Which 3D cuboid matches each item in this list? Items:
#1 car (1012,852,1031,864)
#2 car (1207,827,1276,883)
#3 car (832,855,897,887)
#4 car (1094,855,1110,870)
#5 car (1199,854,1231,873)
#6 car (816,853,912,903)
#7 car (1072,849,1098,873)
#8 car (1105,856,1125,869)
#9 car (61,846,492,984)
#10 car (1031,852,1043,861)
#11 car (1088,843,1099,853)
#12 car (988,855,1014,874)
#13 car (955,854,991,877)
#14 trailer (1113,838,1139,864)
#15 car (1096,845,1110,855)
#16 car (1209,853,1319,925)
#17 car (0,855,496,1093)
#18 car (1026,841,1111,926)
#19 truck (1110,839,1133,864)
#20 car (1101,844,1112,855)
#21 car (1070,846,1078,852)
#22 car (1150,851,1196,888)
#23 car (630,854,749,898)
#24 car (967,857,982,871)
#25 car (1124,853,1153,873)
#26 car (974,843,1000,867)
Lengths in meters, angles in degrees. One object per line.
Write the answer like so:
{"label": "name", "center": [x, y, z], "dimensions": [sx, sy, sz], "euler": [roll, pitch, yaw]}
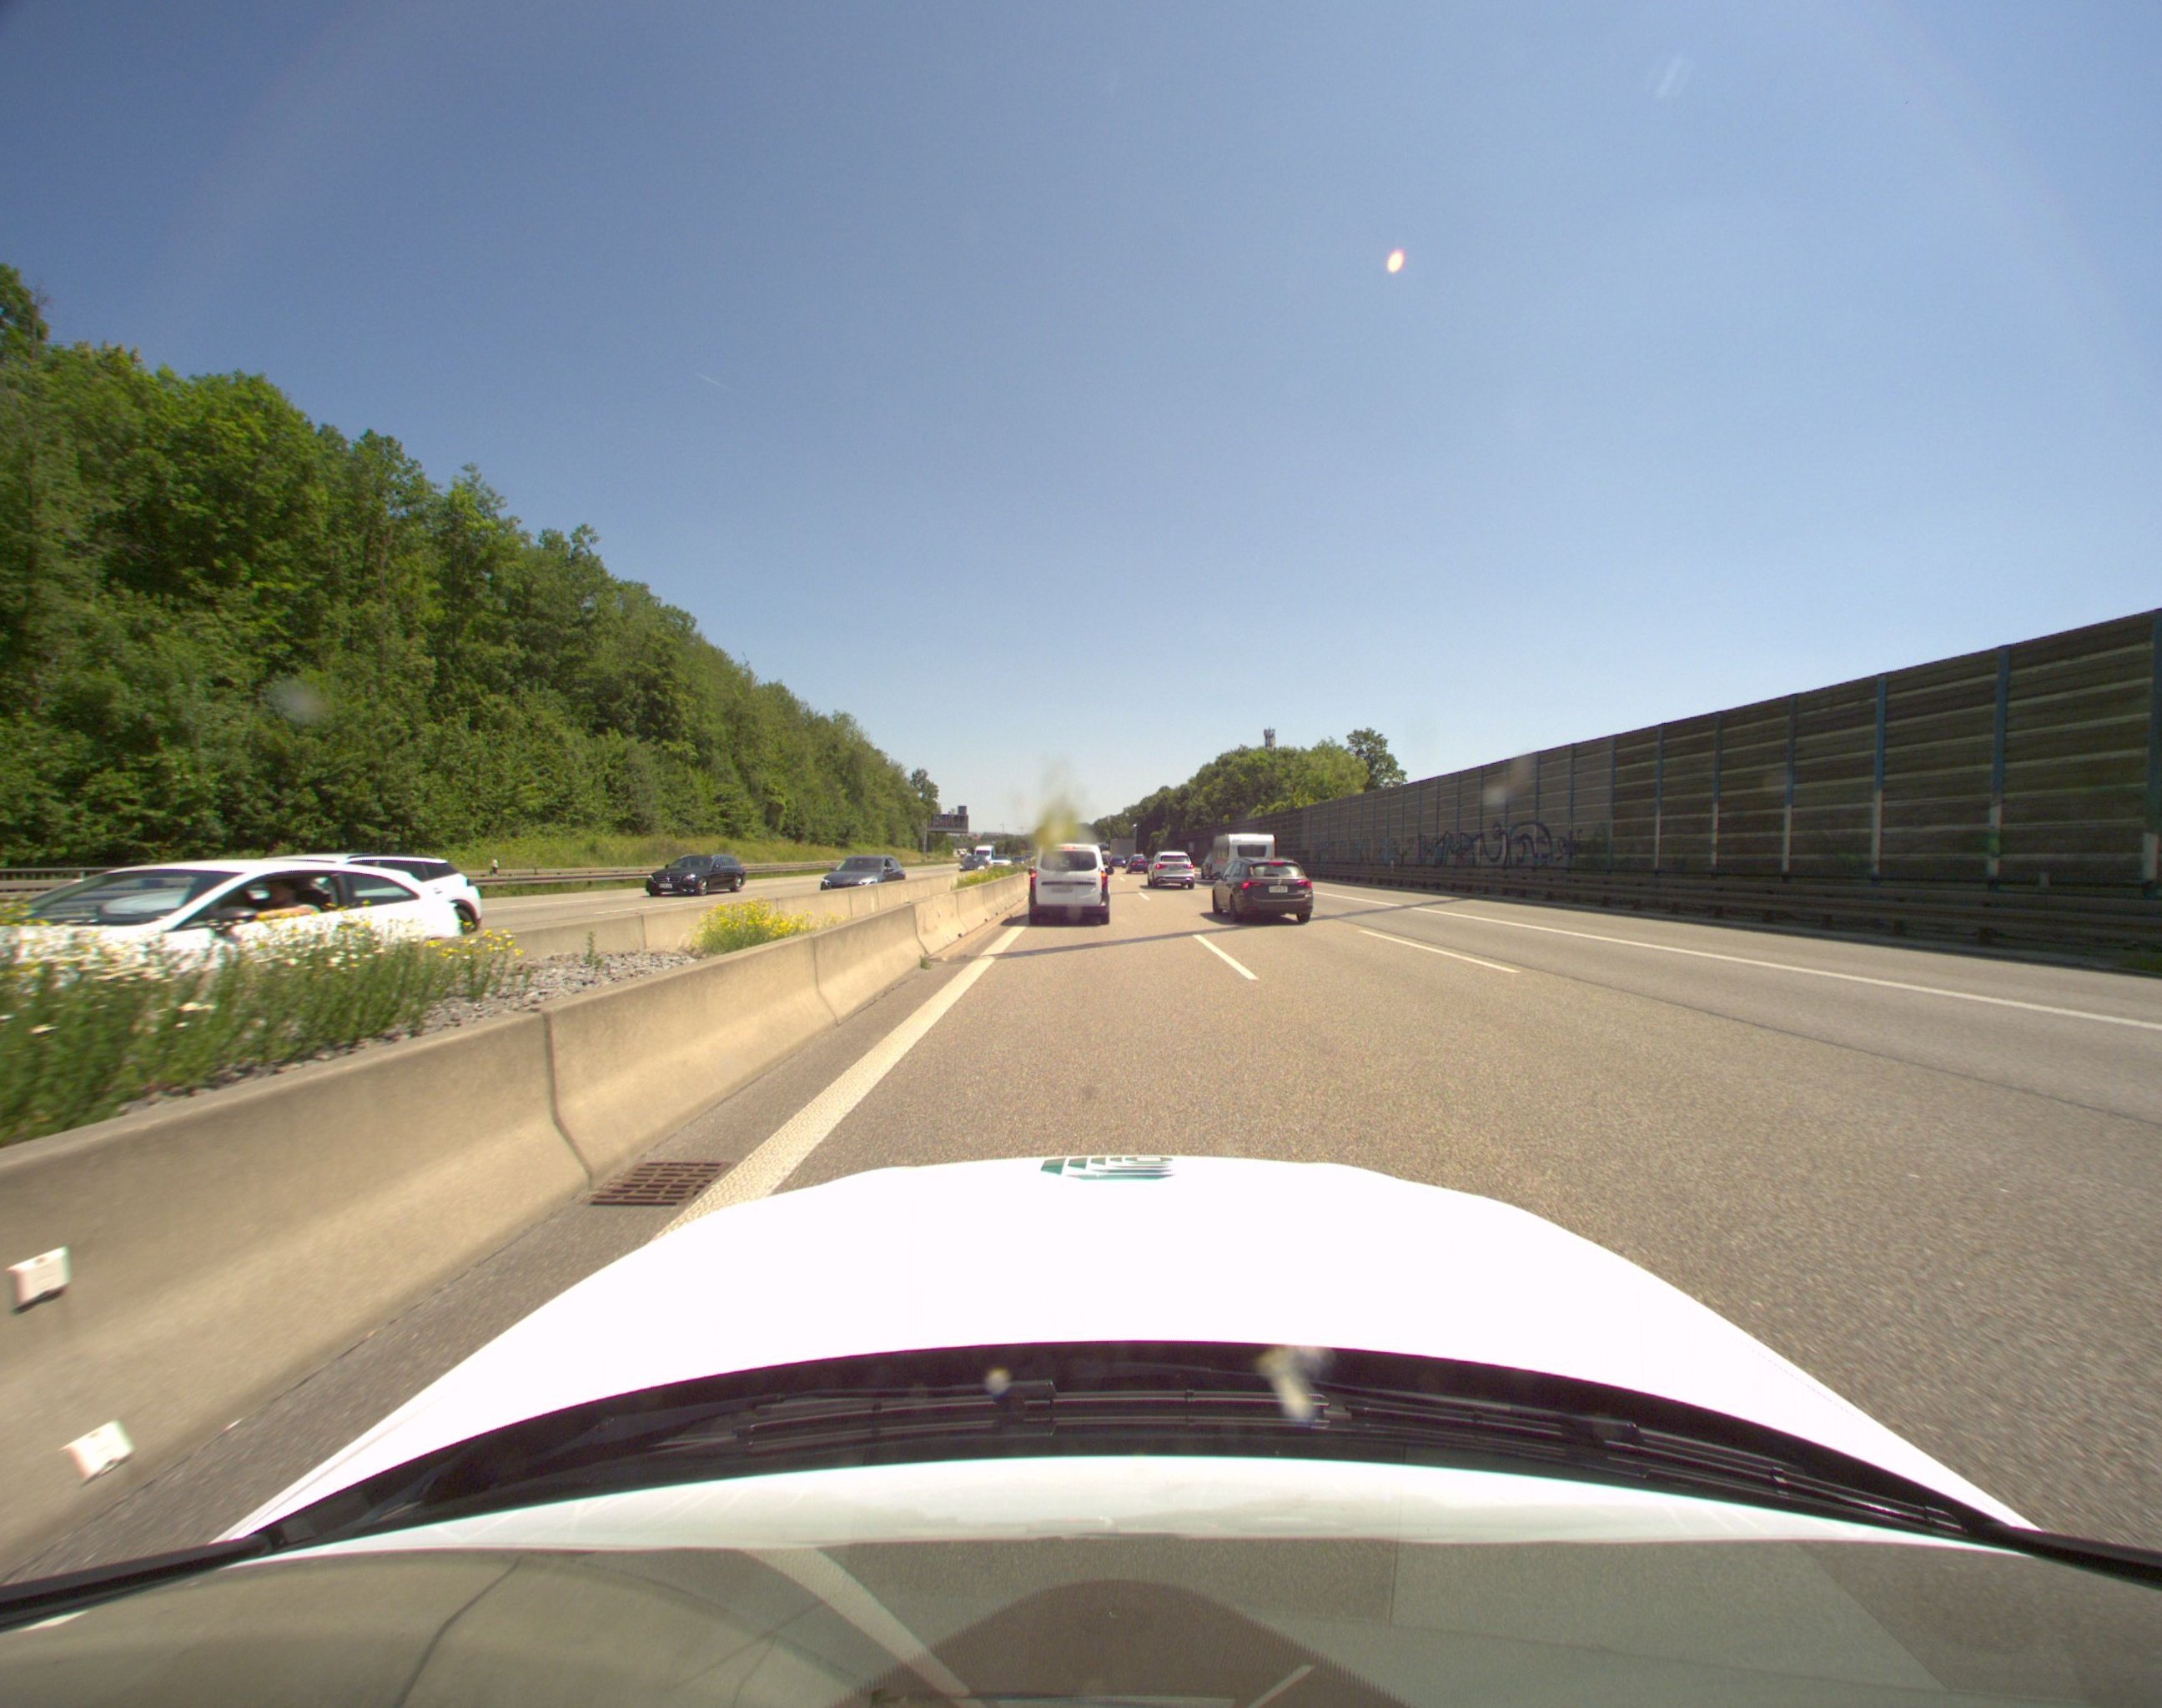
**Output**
{"label": "car", "center": [-6.903, 0.447, 94.641], "dimensions": [1.869, 1.410, 4.412], "euler": [0, 0, 0]}
{"label": "car", "center": [8.431, 0.059, 43.489], "dimensions": [2.471, 2.766, 6.218], "euler": [0, 0, 0]}
{"label": "car", "center": [-10.143, 0.757, 38.489], "dimensions": [1.836, 1.420, 4.234], "euler": [0, 0, 1]}
{"label": "car", "center": [2.881, 1.186, 112.960], "dimensions": [1.819, 1.989, 3.996], "euler": [-1, -1, -2]}
{"label": "car", "center": [10.377, 0.750, 63.365], "dimensions": [1.818, 1.424, 3.999], "euler": [0, 0, 0]}
{"label": "car", "center": [-6.682, 0.688, 25.550], "dimensions": [1.726, 1.405, 4.611], "euler": [-1, 0, 0]}
{"label": "car", "center": [0.298, 0.580, 66.347], "dimensions": [1.988, 1.860, 3.996], "euler": [0, 0, -2]}
{"label": "car", "center": [3.699, 0.931, 88.337], "dimensions": [1.819, 1.424, 3.996], "euler": [0, 0, -2]}
{"label": "car", "center": [-10.514, 0.692, 11.171], "dimensions": [1.835, 1.546, 4.002], "euler": [-1, 0, 2]}
{"label": "car", "center": [-7.905, 0.454, 147.732], "dimensions": [1.987, 1.724, 4.356], "euler": [0, 0, 0]}
{"label": "car", "center": [2.704, -1.247, 177.229], "dimensions": [1.991, 2.013, 3.992], "euler": [-1, 0, -6]}
{"label": "car", "center": [-6.873, 0.885, 70.245], "dimensions": [1.797, 1.527, 4.257], "euler": [0, 0, 1]}
{"label": "car", "center": [-6.841, 0.723, 51.930], "dimensions": [1.659, 1.428, 3.858], "euler": [0, 0, 1]}
{"label": "trailer", "center": [6.950, -0.435, 127.779], "dimensions": [3.074, 3.985, 10.314], "euler": [0, 0, -2]}
{"label": "car", "center": [3.324, -0.602, 125.042], "dimensions": [1.819, 1.447, 3.996], "euler": [0, 0, -2]}
{"label": "car", "center": [4.283, 0.749, 19.691], "dimensions": [1.831, 1.513, 4.404], "euler": [0, 0, 2]}
{"label": "car", "center": [-7.223, 0.730, 6.794], "dimensions": [1.626, 1.428, 4.038], "euler": [-1, 0, 2]}
{"label": "car", "center": [-0.203, 0.640, 19.442], "dimensions": [1.795, 1.808, 4.002], "euler": [-1, 0, 2]}
{"label": "truck", "center": [6.652, -0.392, 135.794], "dimensions": [3.074, 3.985, 9.638], "euler": [0, 0, -2]}
{"label": "car", "center": [5.005, -0.845, 160.345], "dimensions": [1.988, 2.013, 3.997], "euler": [-1, 0, -2]}
{"label": "car", "center": [-2.101, -1.345, 241.286], "dimensions": [1.989, 1.728, 3.996], "euler": [-1, 0, -2]}
{"label": "car", "center": [4.234, 0.675, 37.915], "dimensions": [1.864, 1.608, 3.881], "euler": [0, 0, 2]}
{"label": "car", "center": [-14.304, 0.747, 30.090], "dimensions": [1.986, 1.481, 4.692], "euler": [-1, 0, 2]}
{"label": "car", "center": [-16.905, 1.567, 129.081], "dimensions": [1.988, 2.013, 3.997], "euler": [0, 0, -2]}
{"label": "car", "center": [4.419, 0.687, 63.214], "dimensions": [1.819, 1.424, 3.996], "euler": [0, 0, -2]}
{"label": "car", "center": [-10.717, 0.096, 92.888], "dimensions": [2.208, 2.701, 6.062], "euler": [0, 0, 0]}
